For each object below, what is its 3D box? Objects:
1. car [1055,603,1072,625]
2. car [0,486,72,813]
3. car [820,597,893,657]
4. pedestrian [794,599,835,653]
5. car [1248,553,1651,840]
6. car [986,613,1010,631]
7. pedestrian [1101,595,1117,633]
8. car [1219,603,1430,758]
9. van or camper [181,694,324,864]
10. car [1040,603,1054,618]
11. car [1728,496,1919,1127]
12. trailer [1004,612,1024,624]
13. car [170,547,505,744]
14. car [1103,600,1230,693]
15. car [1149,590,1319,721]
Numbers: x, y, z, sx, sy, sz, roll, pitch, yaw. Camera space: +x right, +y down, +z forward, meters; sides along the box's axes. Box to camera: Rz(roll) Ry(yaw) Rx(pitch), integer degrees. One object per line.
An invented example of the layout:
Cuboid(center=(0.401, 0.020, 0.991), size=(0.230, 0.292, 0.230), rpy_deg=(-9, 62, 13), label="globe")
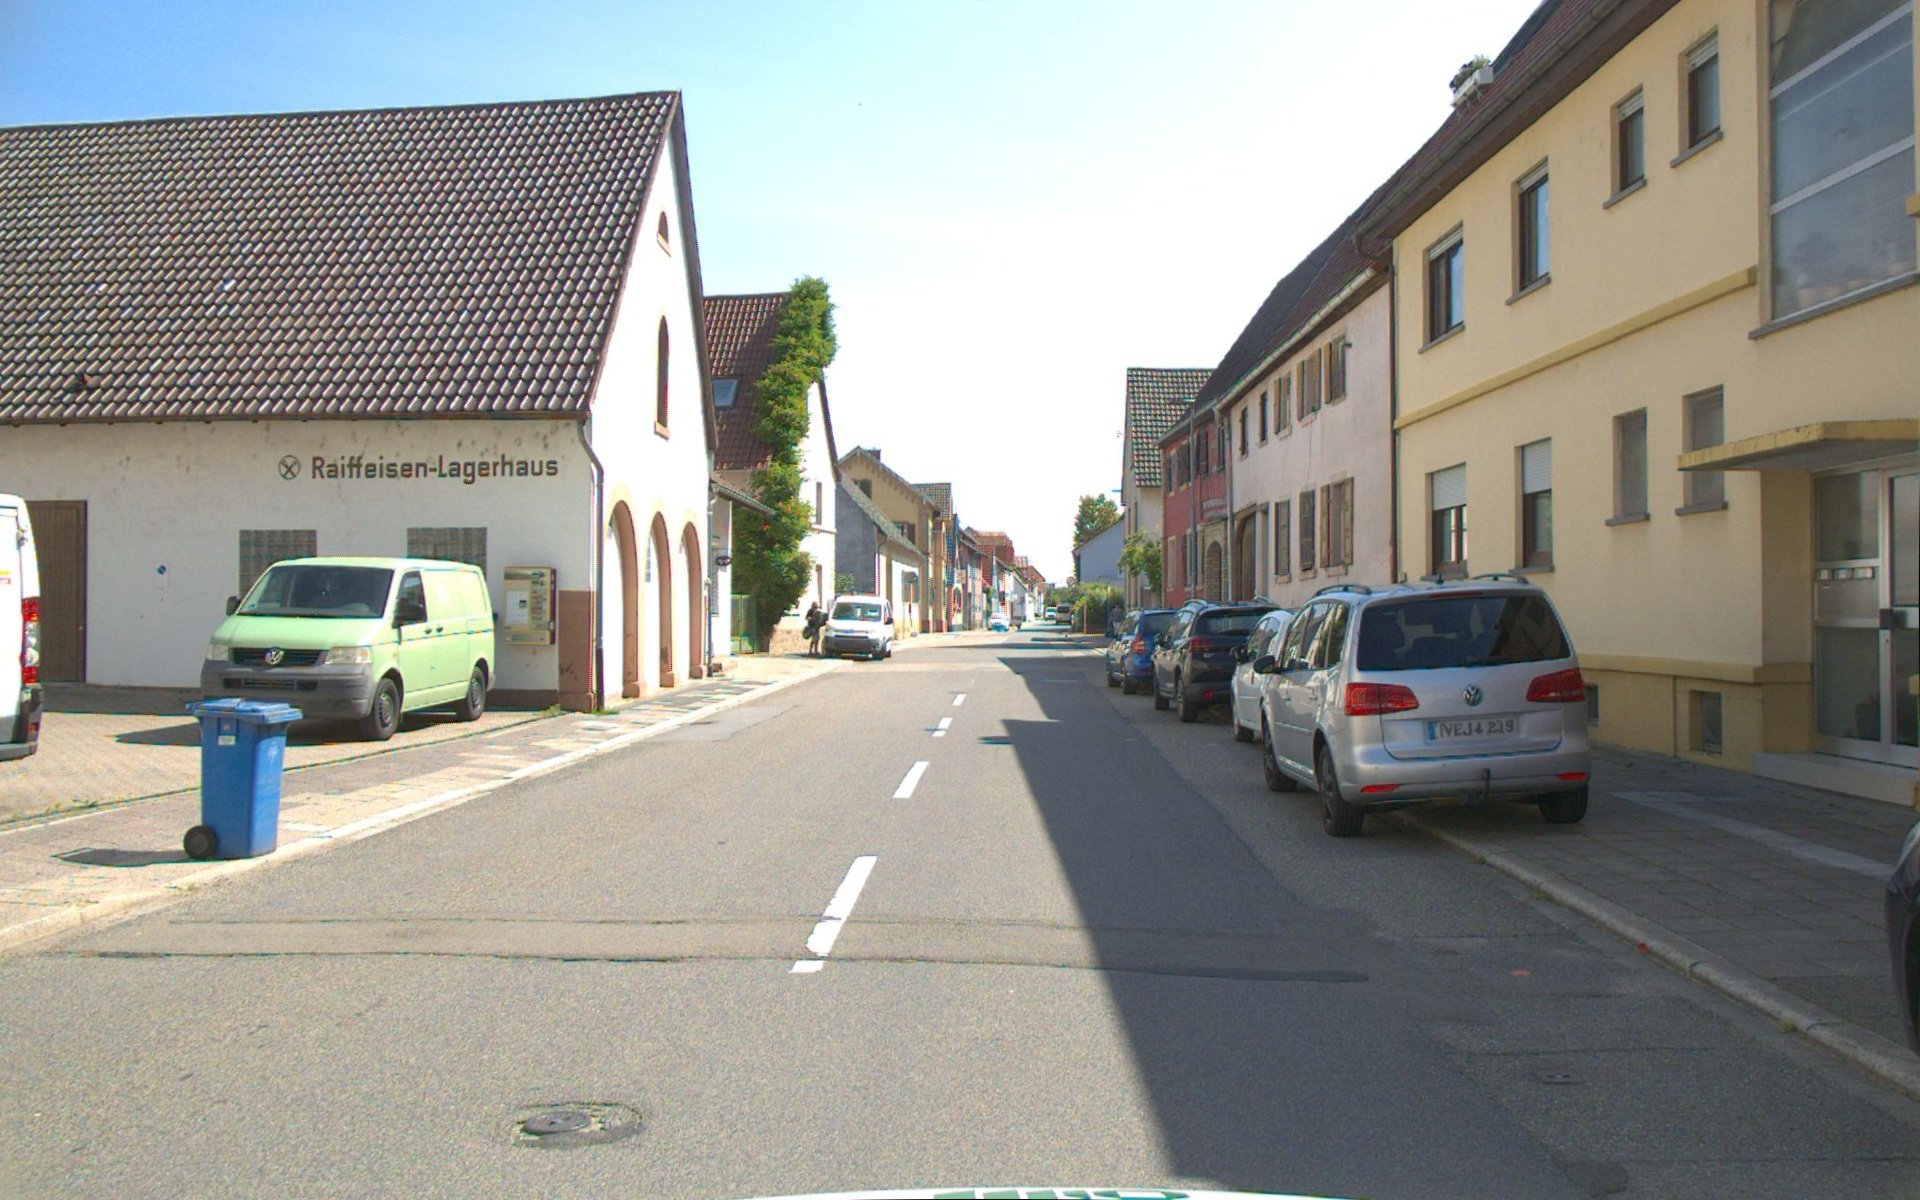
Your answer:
Cuboid(center=(12.545, 1.723, 200.893), size=(1.975, 2.613, 4.001), rpy_deg=(-1, -1, 2), label="car")
Cuboid(center=(-9.107, 0.315, 11.387), size=(5.065, 2.235, 2.124), rpy_deg=(1, 0, 11), label="car")
Cuboid(center=(-2.971, 0.750, 48.313), size=(1.817, 1.676, 4.430), rpy_deg=(0, 0, 0), label="car")
Cuboid(center=(-4.285, 0.757, 48.745), size=(1.113, 1.579, 1.016), rpy_deg=(0, -1, 0), label="pedestrian")
Cuboid(center=(3.403, 0.609, 12.377), size=(1.859, 1.758, 4.249), rpy_deg=(0, 0, 2), label="car")
Cuboid(center=(3.293, 1.900, 142.771), size=(1.952, 1.467, 4.001), rpy_deg=(-1, -1, 3), label="car")
Cuboid(center=(6.646, 0.616, 73.883), size=(0.703, 1.693, 0.893), rpy_deg=(0, -1, 6), label="pedestrian")
Cuboid(center=(3.801, 0.787, 17.806), size=(1.519, 1.463, 3.721), rpy_deg=(-1, 0, 2), label="car")
Cuboid(center=(-4.324, 1.080, 10.134), size=(0.577, 0.968, 0.600), rpy_deg=(0, 0, 7), label="van or camper")
Cuboid(center=(13.244, 1.543, 251.720), size=(2.113, 2.116, 4.000), rpy_deg=(-1, -2, 2), label="car")
Cuboid(center=(3.482, 0.565, 3.099), size=(1.806, 1.732, 5.181), rpy_deg=(-1, 0, 2), label="car")
Cuboid(center=(5.195, 1.761, 159.477), size=(1.952, 1.109, 4.001), rpy_deg=(0, 0, 2), label="trailer")
Cuboid(center=(-6.962, 0.467, 19.130), size=(1.952, 1.999, 4.670), rpy_deg=(0, 0, 2), label="car")
Cuboid(center=(3.611, 0.787, 29.604), size=(1.664, 1.495, 4.409), rpy_deg=(-1, 0, -1), label="car")
Cuboid(center=(3.682, 0.713, 22.872), size=(1.664, 1.611, 4.027), rpy_deg=(-1, 0, 0), label="car")
